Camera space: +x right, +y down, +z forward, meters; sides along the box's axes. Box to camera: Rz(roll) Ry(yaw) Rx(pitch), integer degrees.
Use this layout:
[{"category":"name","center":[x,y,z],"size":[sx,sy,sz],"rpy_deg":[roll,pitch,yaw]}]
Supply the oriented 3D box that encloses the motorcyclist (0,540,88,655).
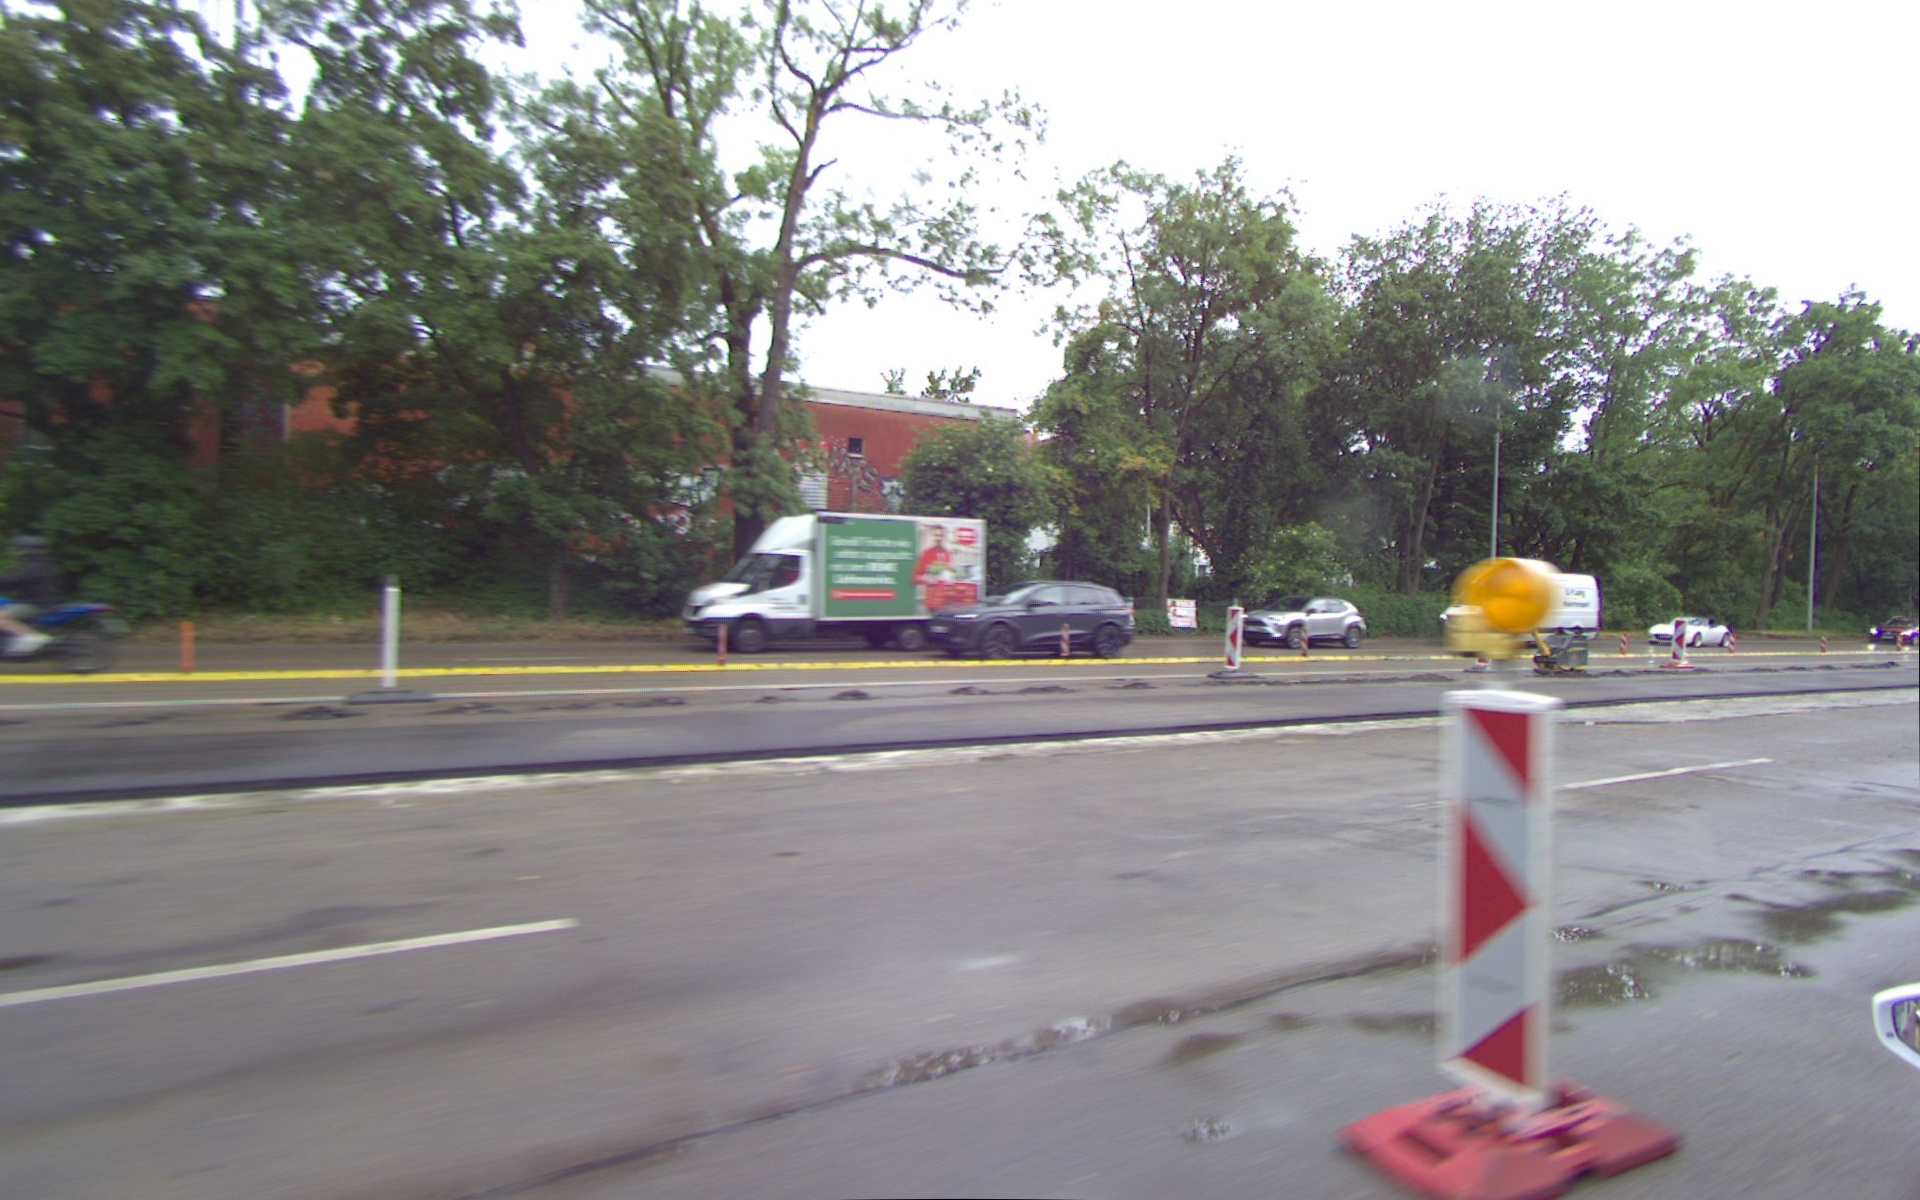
[{"category":"motorcyclist","center":[-11.992,-0.038,12.965],"size":[0.964,1.429,0.810],"rpy_deg":[1,2,-30]}]

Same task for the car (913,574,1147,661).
[{"category":"car","center":[1.552,0.384,21.706],"size":[4.751,1.716,1.984],"rpy_deg":[1,0,-30]}]

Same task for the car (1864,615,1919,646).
[{"category":"car","center":[49.390,1.590,52.653],"size":[4.435,1.496,1.720],"rpy_deg":[2,0,-31]}]

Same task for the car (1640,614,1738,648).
[{"category":"car","center":[30.058,1.282,41.395],"size":[3.950,1.199,1.682],"rpy_deg":[2,2,-28]}]

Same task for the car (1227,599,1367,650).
[{"category":"car","center":[9.955,0.717,29.622],"size":[4.034,1.383,1.707],"rpy_deg":[1,0,-31]}]

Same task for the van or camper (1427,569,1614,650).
[{"category":"van or camper","center":[19.744,0.368,35.234],"size":[7.637,2.589,1.984],"rpy_deg":[2,2,-30]}]

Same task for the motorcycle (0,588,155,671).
[{"category":"motorcycle","center":[-12.077,0.374,12.927],"size":[2.563,1.002,0.804],"rpy_deg":[1,2,-30]}]

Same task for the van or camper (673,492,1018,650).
[{"category":"van or camper","center":[-2.423,-0.510,22.598],"size":[7.366,3.103,2.286],"rpy_deg":[2,1,-31]}]
